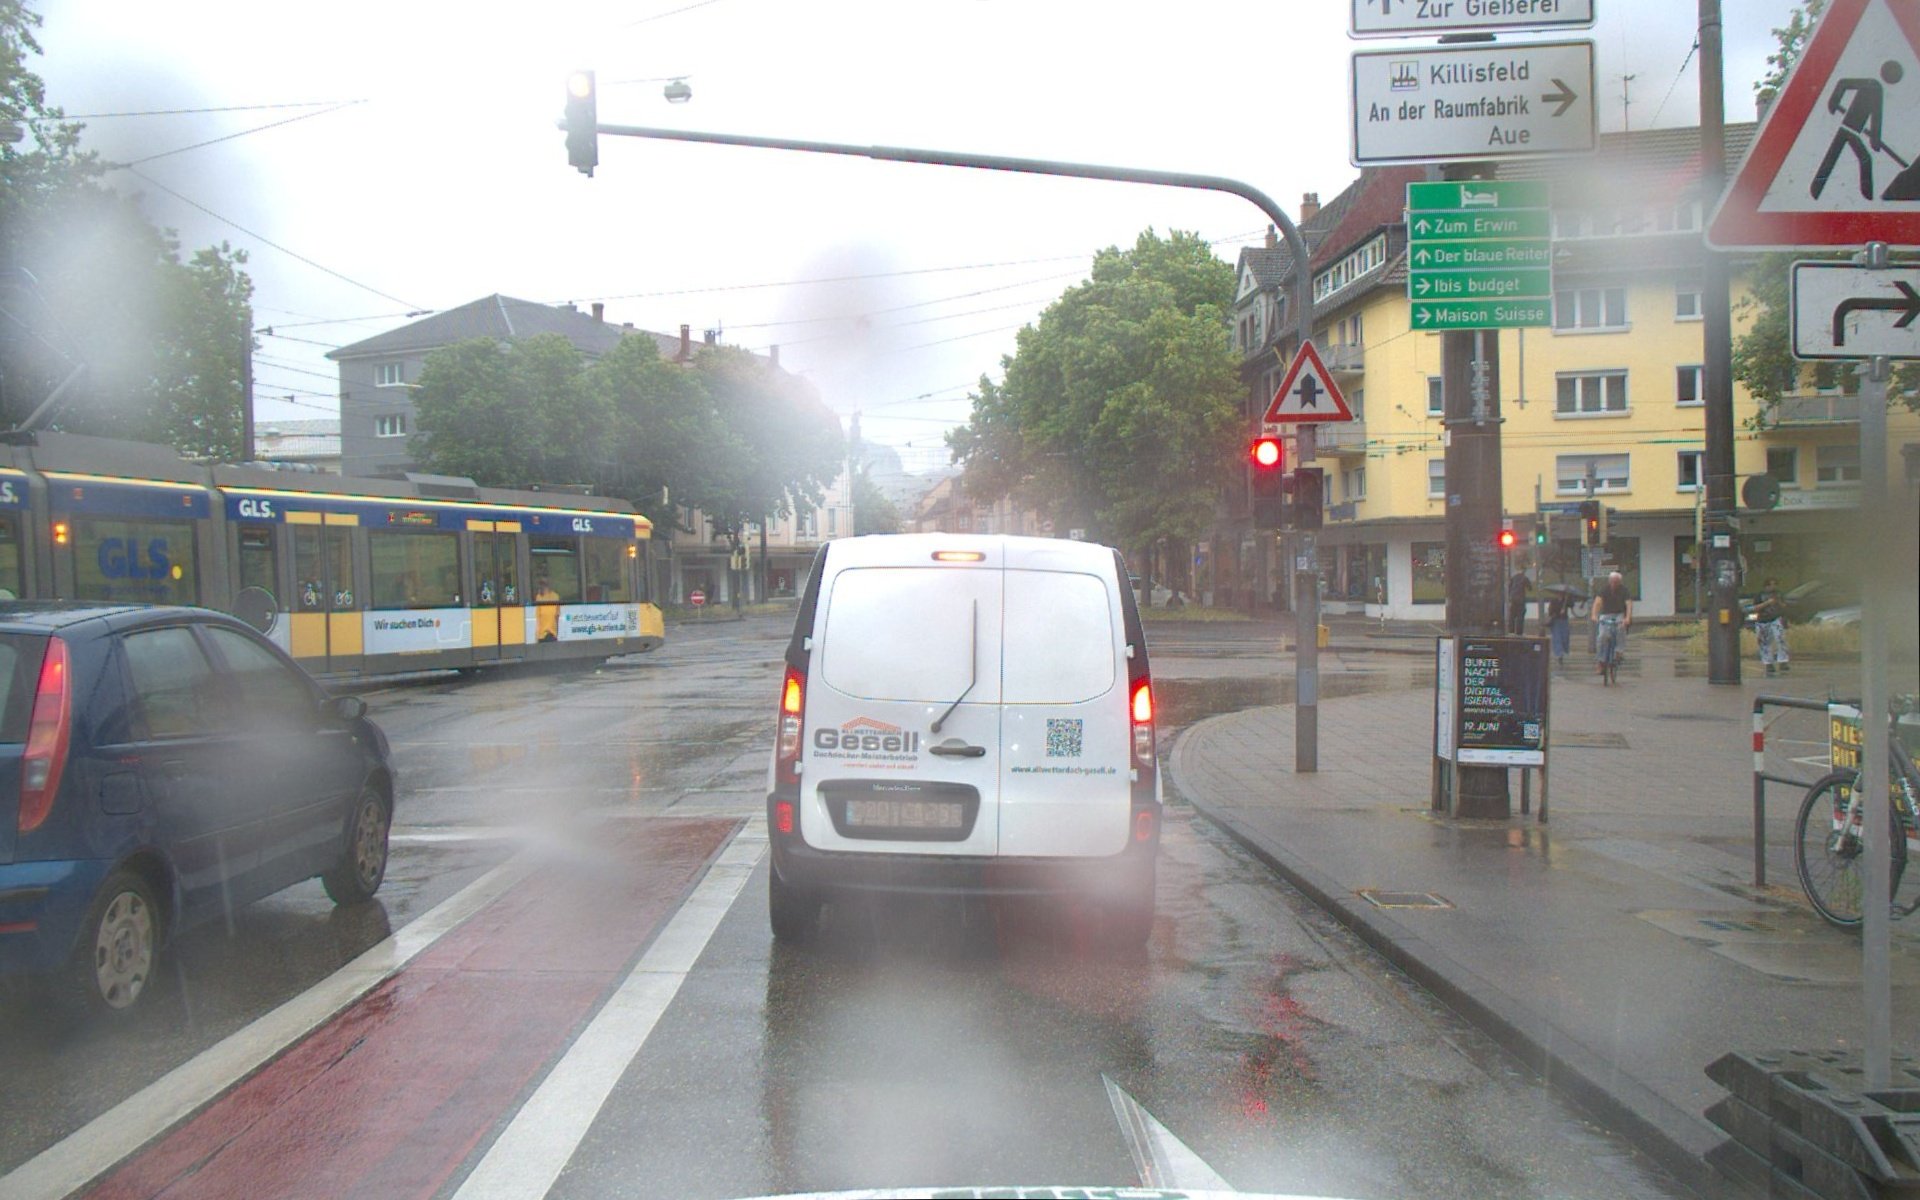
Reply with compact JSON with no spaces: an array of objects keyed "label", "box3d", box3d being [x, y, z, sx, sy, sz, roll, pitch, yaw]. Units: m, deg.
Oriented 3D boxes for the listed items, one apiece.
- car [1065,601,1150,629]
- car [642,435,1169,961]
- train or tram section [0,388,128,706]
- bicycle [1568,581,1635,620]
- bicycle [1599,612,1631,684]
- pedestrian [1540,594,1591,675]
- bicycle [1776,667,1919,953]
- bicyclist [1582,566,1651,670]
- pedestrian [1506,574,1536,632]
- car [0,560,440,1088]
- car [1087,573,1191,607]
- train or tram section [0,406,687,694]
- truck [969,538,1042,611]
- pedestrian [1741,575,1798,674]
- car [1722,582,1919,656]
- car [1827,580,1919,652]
[{"label":"car","box3d":[6.264,0.652,70.487,3.378,1.150,1.469,0,0,-9]},{"label":"car","box3d":[-0.246,0.388,8.957,2.058,2.047,4.962,0,0,-1]},{"label":"train or tram section","box3d":[-13.014,-0.637,14.264,3.438,3.574,13.669,1,0,6]},{"label":"bicycle","box3d":[21.555,0.007,55.596,2.056,1.283,0.532,0,1,14]},{"label":"bicycle","box3d":[10.441,0.738,26.344,0.449,1.045,1.901,0,1,22]},{"label":"pedestrian","box3d":[11.848,0.664,32.365,0.809,1.561,0.614,1,0,-39]},{"label":"bicycle","box3d":[4.257,0.911,7.086,0.503,1.126,2.017,3,0,1]},{"label":"bicyclist","box3d":[10.450,0.279,26.365,0.859,1.611,0.861,0,0,9]},{"label":"pedestrian","box3d":[14.771,0.076,43.556,0.610,1.526,0.551,0,0,34]},{"label":"car","box3d":[-3.605,0.674,6.921,1.692,1.606,3.820,0,0,-1]},{"label":"car","box3d":[7.449,-0.417,69.071,4.088,1.362,1.518,0,1,-8]},{"label":"train or tram section","box3d":[-9.858,-0.600,27.861,3.467,3.472,15.510,1,0,18]},{"label":"truck","box3d":[3.263,-1.845,125.579,3.403,5.176,15.284,0,0,-7]},{"label":"pedestrian","box3d":[14.293,0.418,29.217,0.886,1.698,1.019,0,0,26]},{"label":"car","box3d":[20.863,0.463,39.079,4.832,1.672,2.001,0,-2,11]},{"label":"car","box3d":[21.194,0.335,35.942,3.854,1.516,1.808,0,1,15]}]
